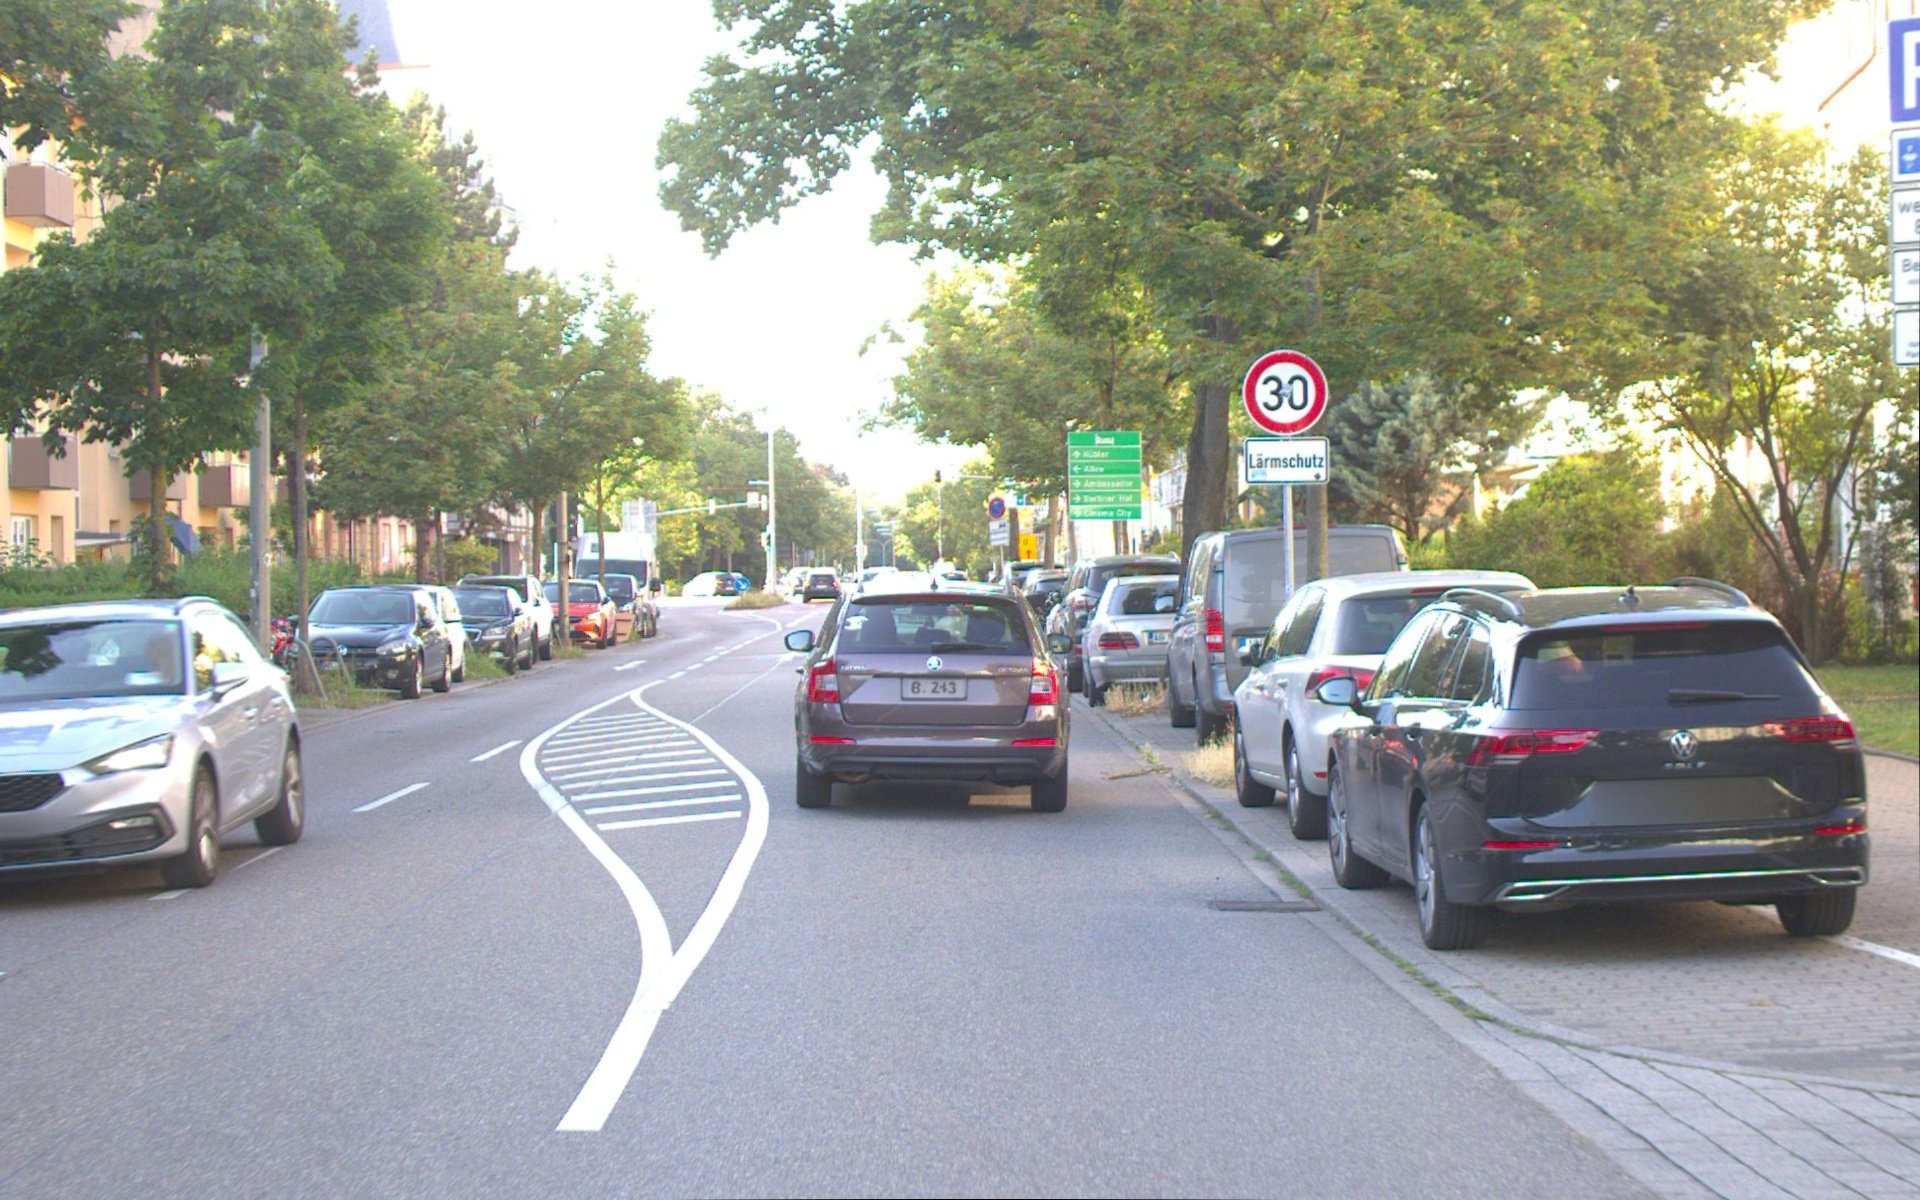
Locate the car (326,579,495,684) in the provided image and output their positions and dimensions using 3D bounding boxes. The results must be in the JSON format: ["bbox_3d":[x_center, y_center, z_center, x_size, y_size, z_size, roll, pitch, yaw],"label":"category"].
[{"bbox_3d":[-8.146,0.439,51.237,1.781,1.475,3.971,1,1,1],"label":"car"}]

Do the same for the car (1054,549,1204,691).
[{"bbox_3d":[2.108,0.222,43.734,1.754,1.709,4.000,1,1,1],"label":"car"}]

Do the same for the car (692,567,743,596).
[{"bbox_3d":[-13.583,-1.024,192.543,1.644,1.593,3.601,-1,1,-25],"label":"car"}]

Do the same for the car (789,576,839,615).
[{"bbox_3d":[-6.741,-0.220,158.468,1.993,1.744,4.001,-1,1,-6],"label":"car"}]

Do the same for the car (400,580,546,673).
[{"bbox_3d":[-8.135,0.415,57.677,1.781,1.475,3.971,1,1,1],"label":"car"}]

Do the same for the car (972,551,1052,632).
[{"bbox_3d":[1.191,-0.209,79.776,1.754,1.800,4.000,1,1,0],"label":"car"}]

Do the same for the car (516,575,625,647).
[{"bbox_3d":[-8.336,0.208,73.846,1.781,1.475,3.971,1,1,1],"label":"car"}]

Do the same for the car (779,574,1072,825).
[{"bbox_3d":[-0.180,0.584,22.783,1.754,1.487,4.000,1,1,1],"label":"car"}]

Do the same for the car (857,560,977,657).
[{"bbox_3d":[-0.751,0.154,58.451,1.892,1.501,3.790,3,-1,-1],"label":"car"}]

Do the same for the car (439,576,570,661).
[{"bbox_3d":[-8.363,0.315,63.374,1.781,1.475,3.971,1,1,1],"label":"car"}]

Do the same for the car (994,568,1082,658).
[{"bbox_3d":[1.682,0.251,74.448,1.754,1.799,4.000,-3,0,1],"label":"car"}]

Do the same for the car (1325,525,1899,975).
[{"bbox_3d":[2.690,0.546,15.125,1.754,1.681,4.252,1,1,1],"label":"car"}]

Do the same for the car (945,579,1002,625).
[{"bbox_3d":[0.466,0.049,123.990,1.644,1.593,3.651,-1,1,-6],"label":"car"}]

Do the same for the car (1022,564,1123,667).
[{"bbox_3d":[2.040,0.251,63.040,1.754,1.800,4.000,1,1,1],"label":"car"}]

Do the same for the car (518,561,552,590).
[{"bbox_3d":[-26.428,-1.511,213.716,1.993,1.744,4.001,-1,1,-8],"label":"car"}]

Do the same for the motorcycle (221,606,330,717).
[{"bbox_3d":[-7.787,0.685,39.200,0.740,1.200,2.141,1,1,2],"label":"motorcycle"}]

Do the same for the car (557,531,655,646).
[{"bbox_3d":[-8.858,-0.315,86.406,1.991,2.771,5.504,1,1,-1],"label":"car"}]

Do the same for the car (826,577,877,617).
[{"bbox_3d":[-4.134,-0.117,130.903,1.780,1.475,3.971,1,1,-4],"label":"car"}]

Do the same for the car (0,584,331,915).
[{"bbox_3d":[-4.626,0.725,18.338,1.739,1.474,4.310,-4,1,-1],"label":"car"}]

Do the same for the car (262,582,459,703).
[{"bbox_3d":[-7.816,0.526,45.159,1.781,1.475,4.033,1,1,1],"label":"car"}]

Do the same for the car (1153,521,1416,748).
[{"bbox_3d":[2.841,0.255,31.211,1.916,1.854,5.633,-1,1,1],"label":"car"}]

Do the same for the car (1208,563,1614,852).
[{"bbox_3d":[2.608,0.569,20.784,1.754,1.551,4.105,1,0,-2],"label":"car"}]
